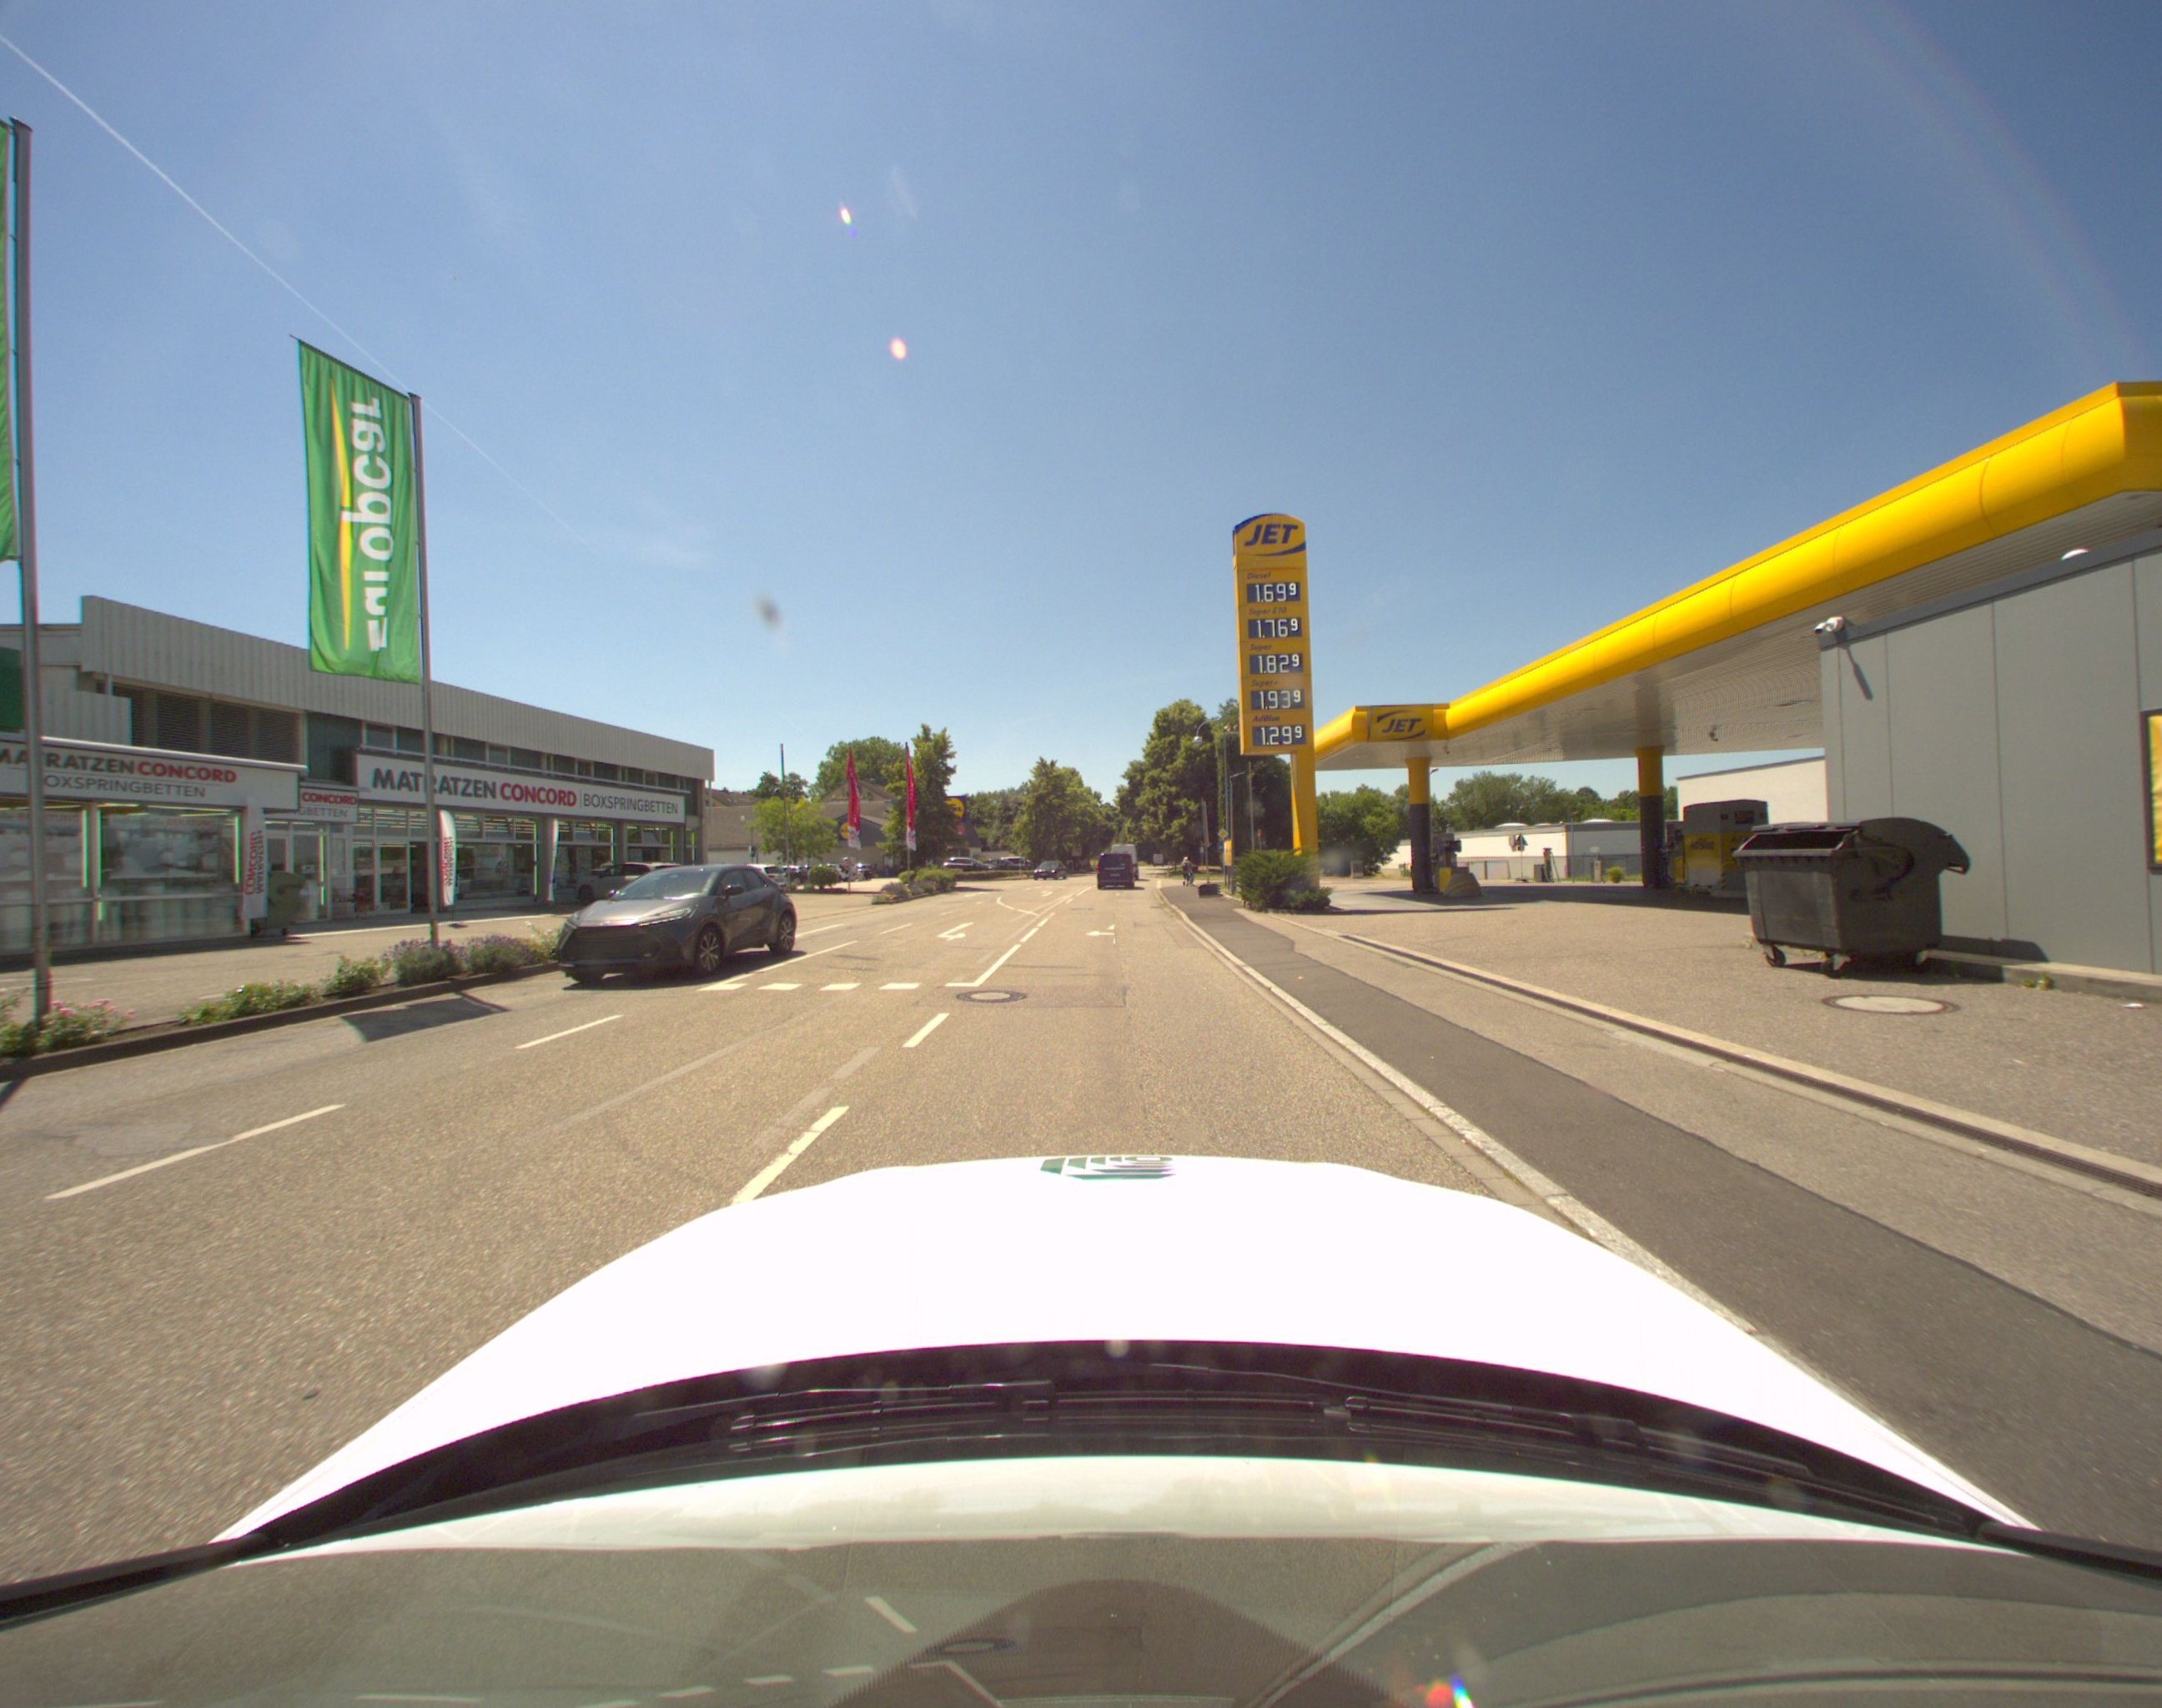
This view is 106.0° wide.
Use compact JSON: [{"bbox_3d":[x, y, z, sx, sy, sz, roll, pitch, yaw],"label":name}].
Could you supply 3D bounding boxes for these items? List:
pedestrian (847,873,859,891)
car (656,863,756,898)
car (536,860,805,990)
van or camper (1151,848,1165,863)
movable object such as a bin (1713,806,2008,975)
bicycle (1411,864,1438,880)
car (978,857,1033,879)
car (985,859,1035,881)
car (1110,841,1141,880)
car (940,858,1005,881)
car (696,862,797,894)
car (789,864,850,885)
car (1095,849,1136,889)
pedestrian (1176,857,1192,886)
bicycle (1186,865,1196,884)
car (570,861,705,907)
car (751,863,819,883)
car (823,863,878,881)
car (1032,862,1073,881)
[{"bbox_3d":[-18.722,2.267,66.924,0.891,1.483,0.803,0,-2,-20],"label":"pedestrian"},{"bbox_3d":[-16.604,1.164,36.096,3.595,1.475,2.010,-1,0,20],"label":"car"},{"bbox_3d":[-5.784,0.896,12.142,1.755,1.527,4.139,-2,-1,2],"label":"car"},{"bbox_3d":[16.118,0.340,171.529,2.622,2.929,5.208,0,-1,2],"label":"van or camper"},{"bbox_3d":[7.508,0.332,7.986,1.429,1.438,1.468,-3,-1,2],"label":"movable object such as a bin"},{"bbox_3d":[24.330,1.295,57.630,1.684,1.098,0.469,-1,-1,7],"label":"bicycle"},{"bbox_3d":[-6.677,1.256,72.336,4.357,1.845,2.110,0,-1,11],"label":"car"},{"bbox_3d":[-6.530,1.462,75.047,4.338,1.980,1.906,0,-1,3],"label":"car"},{"bbox_3d":[3.306,0.465,59.330,2.068,2.703,4.672,1,-1,5],"label":"car"},{"bbox_3d":[-8.609,1.249,64.924,4.679,1.762,2.104,0,-1,9],"label":"car"},{"bbox_3d":[-15.953,1.155,38.880,4.151,1.446,1.989,-1,0,17],"label":"car"},{"bbox_3d":[-21.457,1.701,67.041,4.296,1.655,2.115,0,-1,1],"label":"car"},{"bbox_3d":[1.823,0.779,42.896,1.986,1.953,5.007,1,-1,2],"label":"car"},{"bbox_3d":[5.251,0.876,41.372,0.764,1.421,0.870,-1,-1,10],"label":"pedestrian"},{"bbox_3d":[5.521,1.012,40.968,0.375,0.912,1.603,-1,-1,11],"label":"bicycle"},{"bbox_3d":[-16.934,1.118,31.128,4.492,1.664,2.010,-1,0,20],"label":"car"},{"bbox_3d":[-21.424,1.384,59.026,4.226,1.369,1.767,0,-1,-3],"label":"car"},{"bbox_3d":[-20.174,1.563,71.333,4.296,1.530,1.828,0,-1,1],"label":"car"},{"bbox_3d":[-2.150,1.348,63.375,1.918,1.400,4.706,0,-1,14],"label":"car"}]
